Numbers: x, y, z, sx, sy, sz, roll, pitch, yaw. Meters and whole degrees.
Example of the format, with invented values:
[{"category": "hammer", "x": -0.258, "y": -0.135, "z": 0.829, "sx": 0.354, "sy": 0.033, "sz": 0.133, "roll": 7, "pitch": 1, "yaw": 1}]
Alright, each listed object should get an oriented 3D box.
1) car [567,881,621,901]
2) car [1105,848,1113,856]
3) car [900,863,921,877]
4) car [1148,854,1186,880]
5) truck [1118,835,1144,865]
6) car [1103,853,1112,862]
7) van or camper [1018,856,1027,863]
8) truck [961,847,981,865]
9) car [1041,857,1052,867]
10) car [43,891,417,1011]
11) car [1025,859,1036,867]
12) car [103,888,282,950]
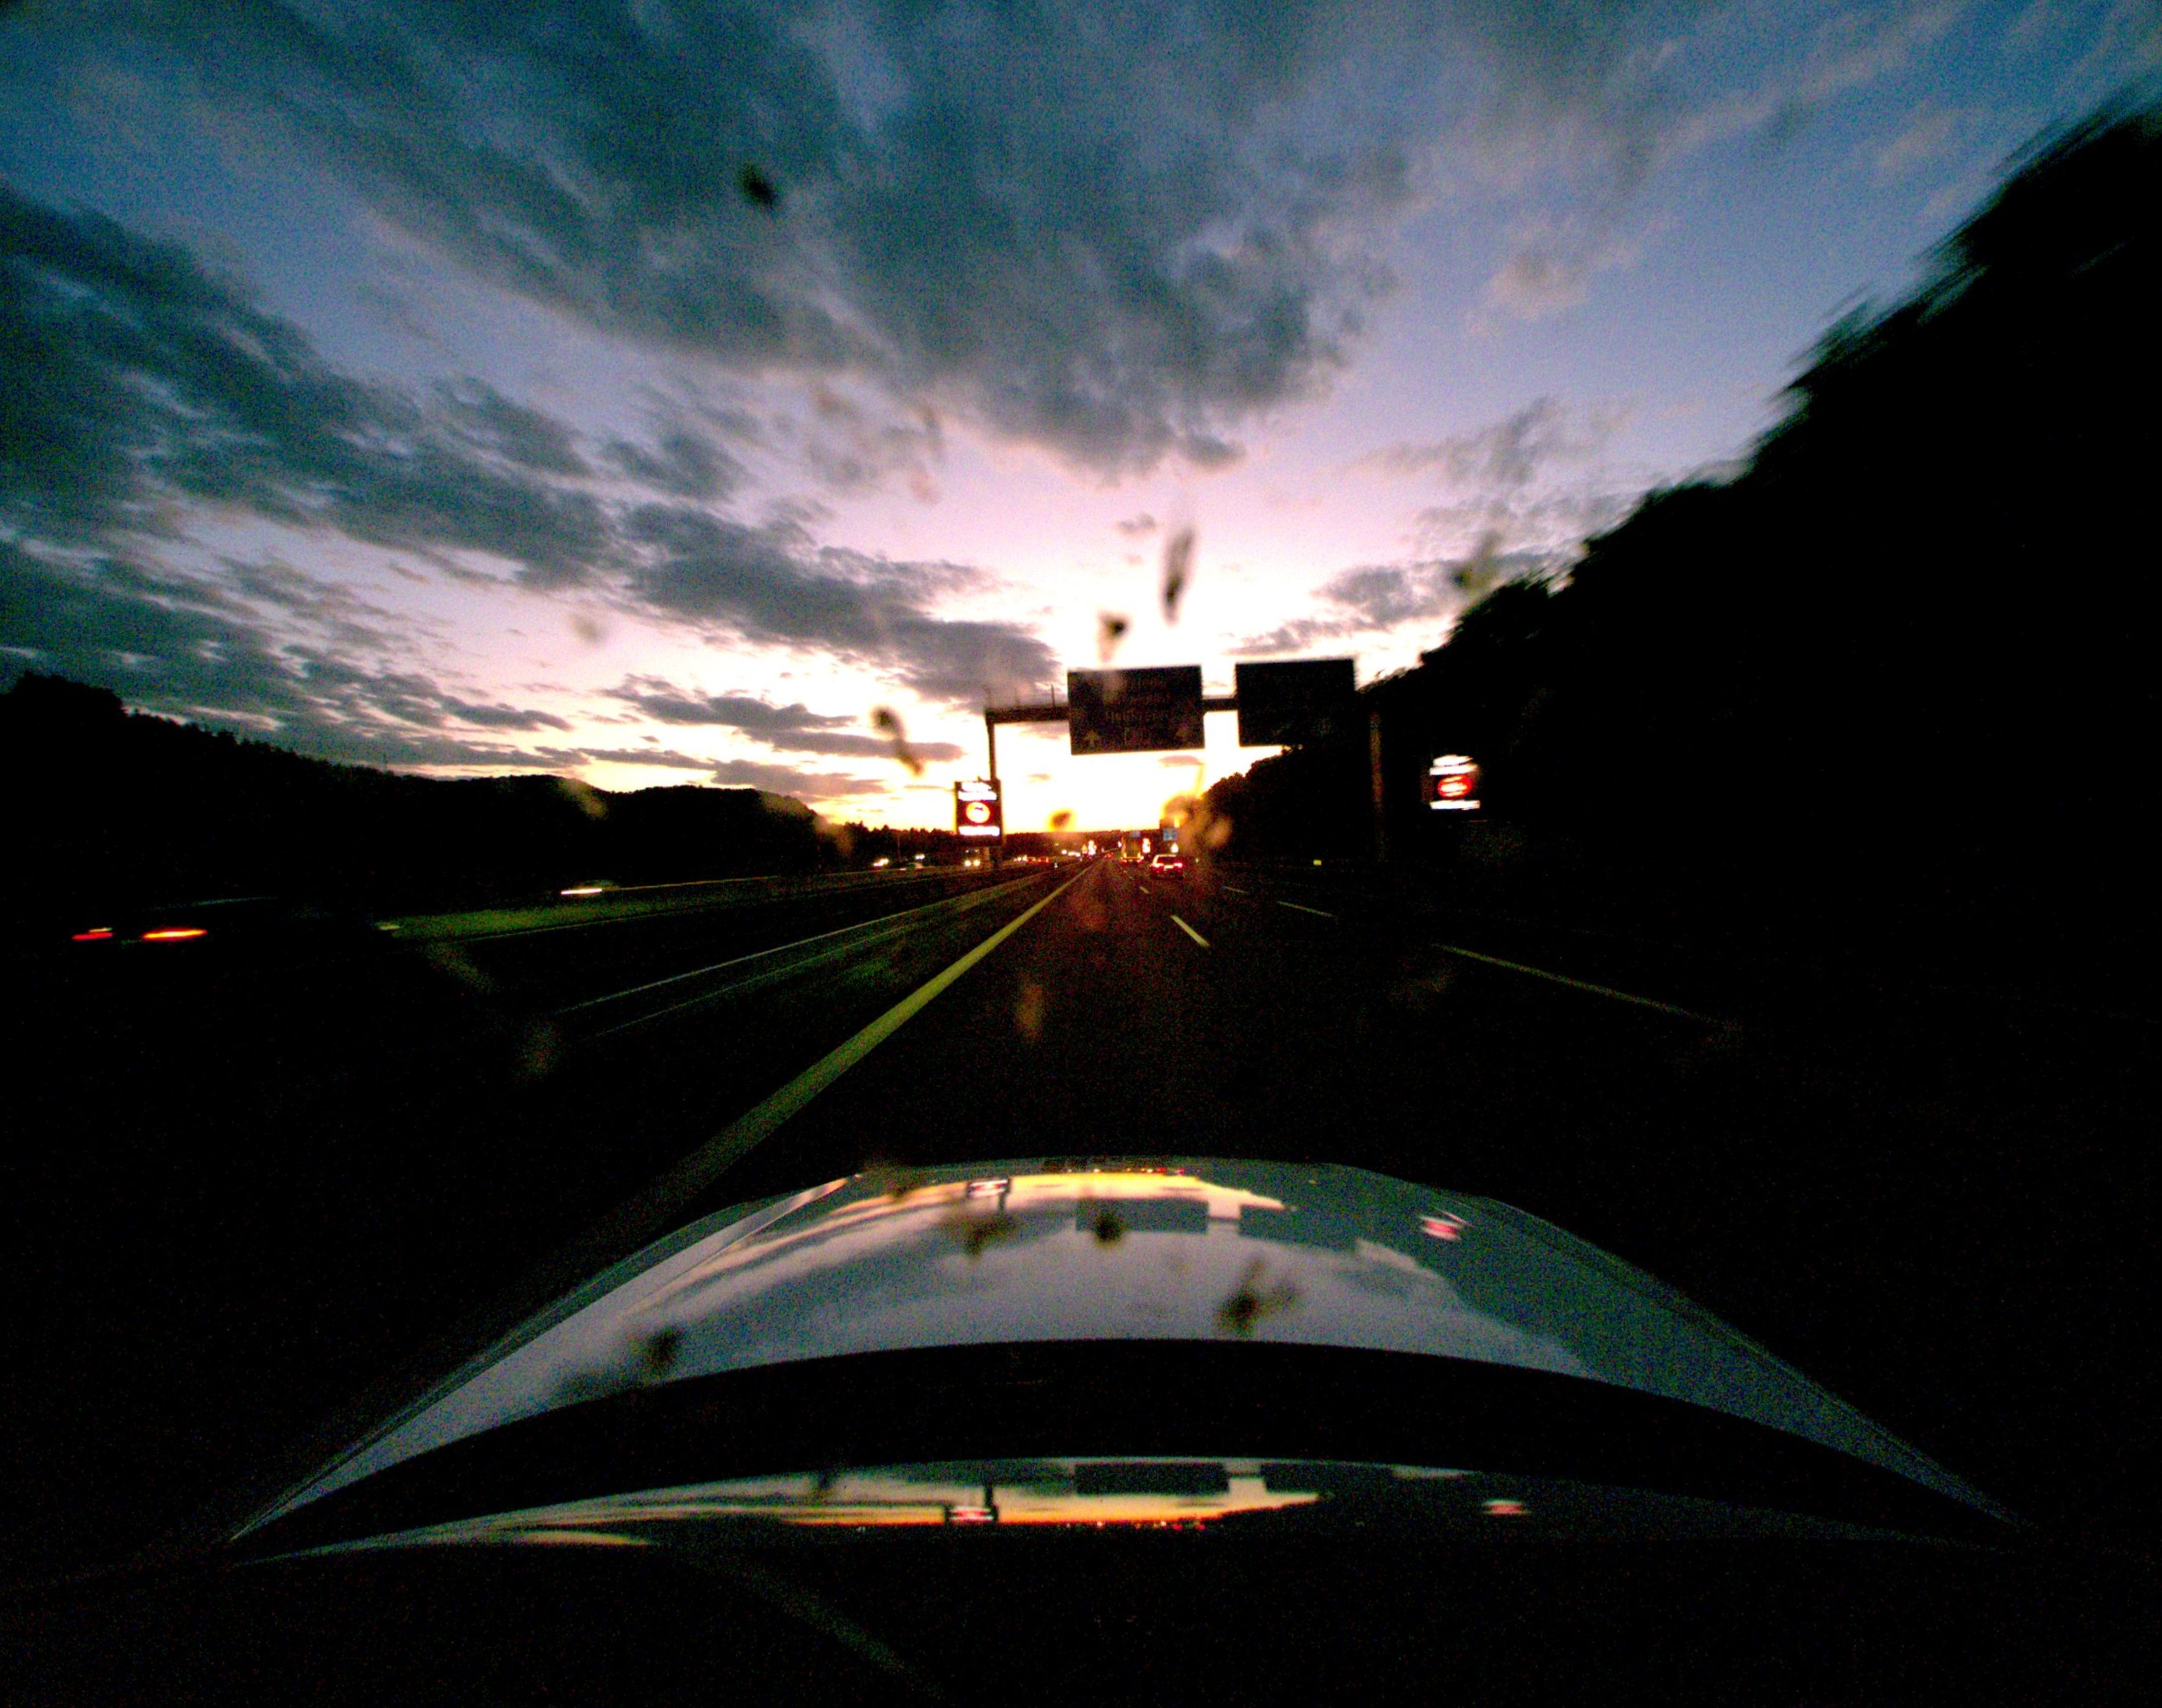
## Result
[{"category": "car", "x": -37.836, "y": 2.840, "z": 63.399, "sx": 1.762, "sy": 1.319, "sz": 3.892, "roll": -3, "pitch": 0, "yaw": 0}, {"category": "car", "x": 7.513, "y": -0.532, "z": 219.854, "sx": 1.986, "sy": 2.013, "sz": 4.001, "roll": -3, "pitch": 0, "yaw": 2}, {"category": "car", "x": -21.683, "y": 1.993, "z": 103.768, "sx": 1.676, "sy": 1.706, "sz": 3.753, "roll": -2, "pitch": 0, "yaw": 2}, {"category": "car", "x": 5.222, "y": 0.768, "z": 49.798, "sx": 1.908, "sy": 1.442, "sz": 4.000, "roll": -3, "pitch": 0, "yaw": 1}, {"category": "truck", "x": 7.580, "y": -0.557, "z": 124.415, "sx": 3.497, "sy": 4.301, "sz": 9.894, "roll": -3, "pitch": 0, "yaw": 1}, {"category": "car", "x": 5.915, "y": 0.784, "z": 181.628, "sx": 1.986, "sy": 2.013, "sz": 4.001, "roll": -3, "pitch": 0, "yaw": 2}, {"category": "van or camper", "x": -16.698, "y": 1.562, "z": 232.192, "sx": 1.884, "sy": 1.907, "sz": 5.540, "roll": -2, "pitch": 0, "yaw": 0}, {"category": "truck", "x": -23.297, "y": 0.493, "z": 172.442, "sx": 3.298, "sy": 3.619, "sz": 5.498, "roll": -3, "pitch": -1, "yaw": 1}, {"category": "car", "x": -6.215, "y": 1.458, "z": 146.969, "sx": 1.706, "sy": 1.605, "sz": 3.723, "roll": -3, "pitch": 0, "yaw": 2}, {"category": "car", "x": -14.889, "y": 1.591, "z": 14.735, "sx": 1.865, "sy": 1.561, "sz": 4.521, "roll": -3, "pitch": 0, "yaw": 2}, {"category": "car", "x": -9.921, "y": 1.755, "z": 159.964, "sx": 1.632, "sy": 1.546, "sz": 3.396, "roll": -3, "pitch": 0, "yaw": 2}, {"category": "car", "x": -35.068, "y": 2.501, "z": 32.385, "sx": 1.989, "sy": 2.013, "sz": 4.728, "roll": -3, "pitch": 0, "yaw": -3}]
